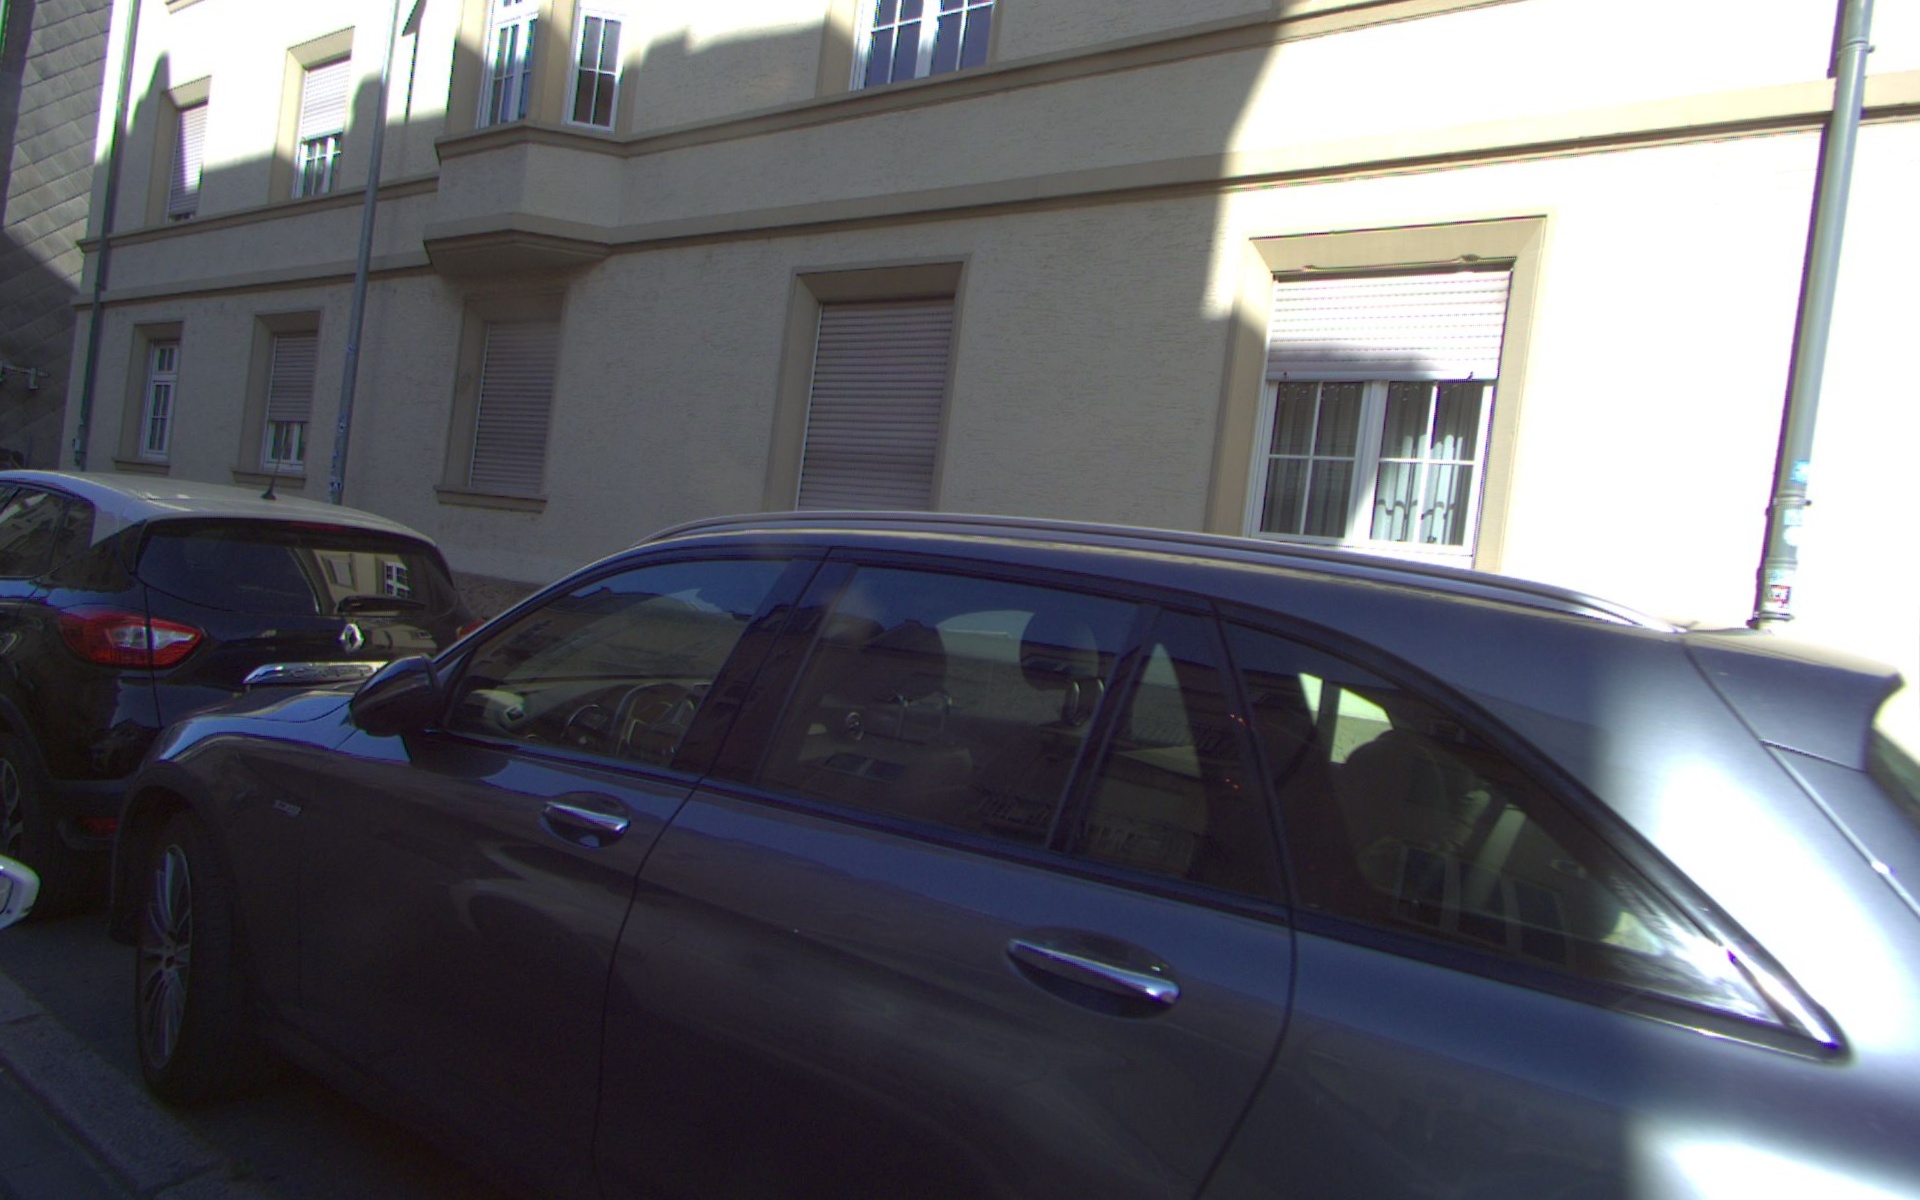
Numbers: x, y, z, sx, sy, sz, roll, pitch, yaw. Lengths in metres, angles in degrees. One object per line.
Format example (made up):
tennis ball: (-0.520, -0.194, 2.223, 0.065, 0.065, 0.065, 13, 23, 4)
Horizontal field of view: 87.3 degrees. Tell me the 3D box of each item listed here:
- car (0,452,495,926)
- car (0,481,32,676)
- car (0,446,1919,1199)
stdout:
car: (-4.294, 0.142, 5.029, 3.850, 1.565, 1.681, 8, 1, 33)
car: (-9.379, -0.440, 8.105, 4.025, 1.482, 1.655, 8, 0, 31)
car: (-0.694, 0.689, 2.627, 4.362, 1.684, 1.789, 8, 0, 33)
